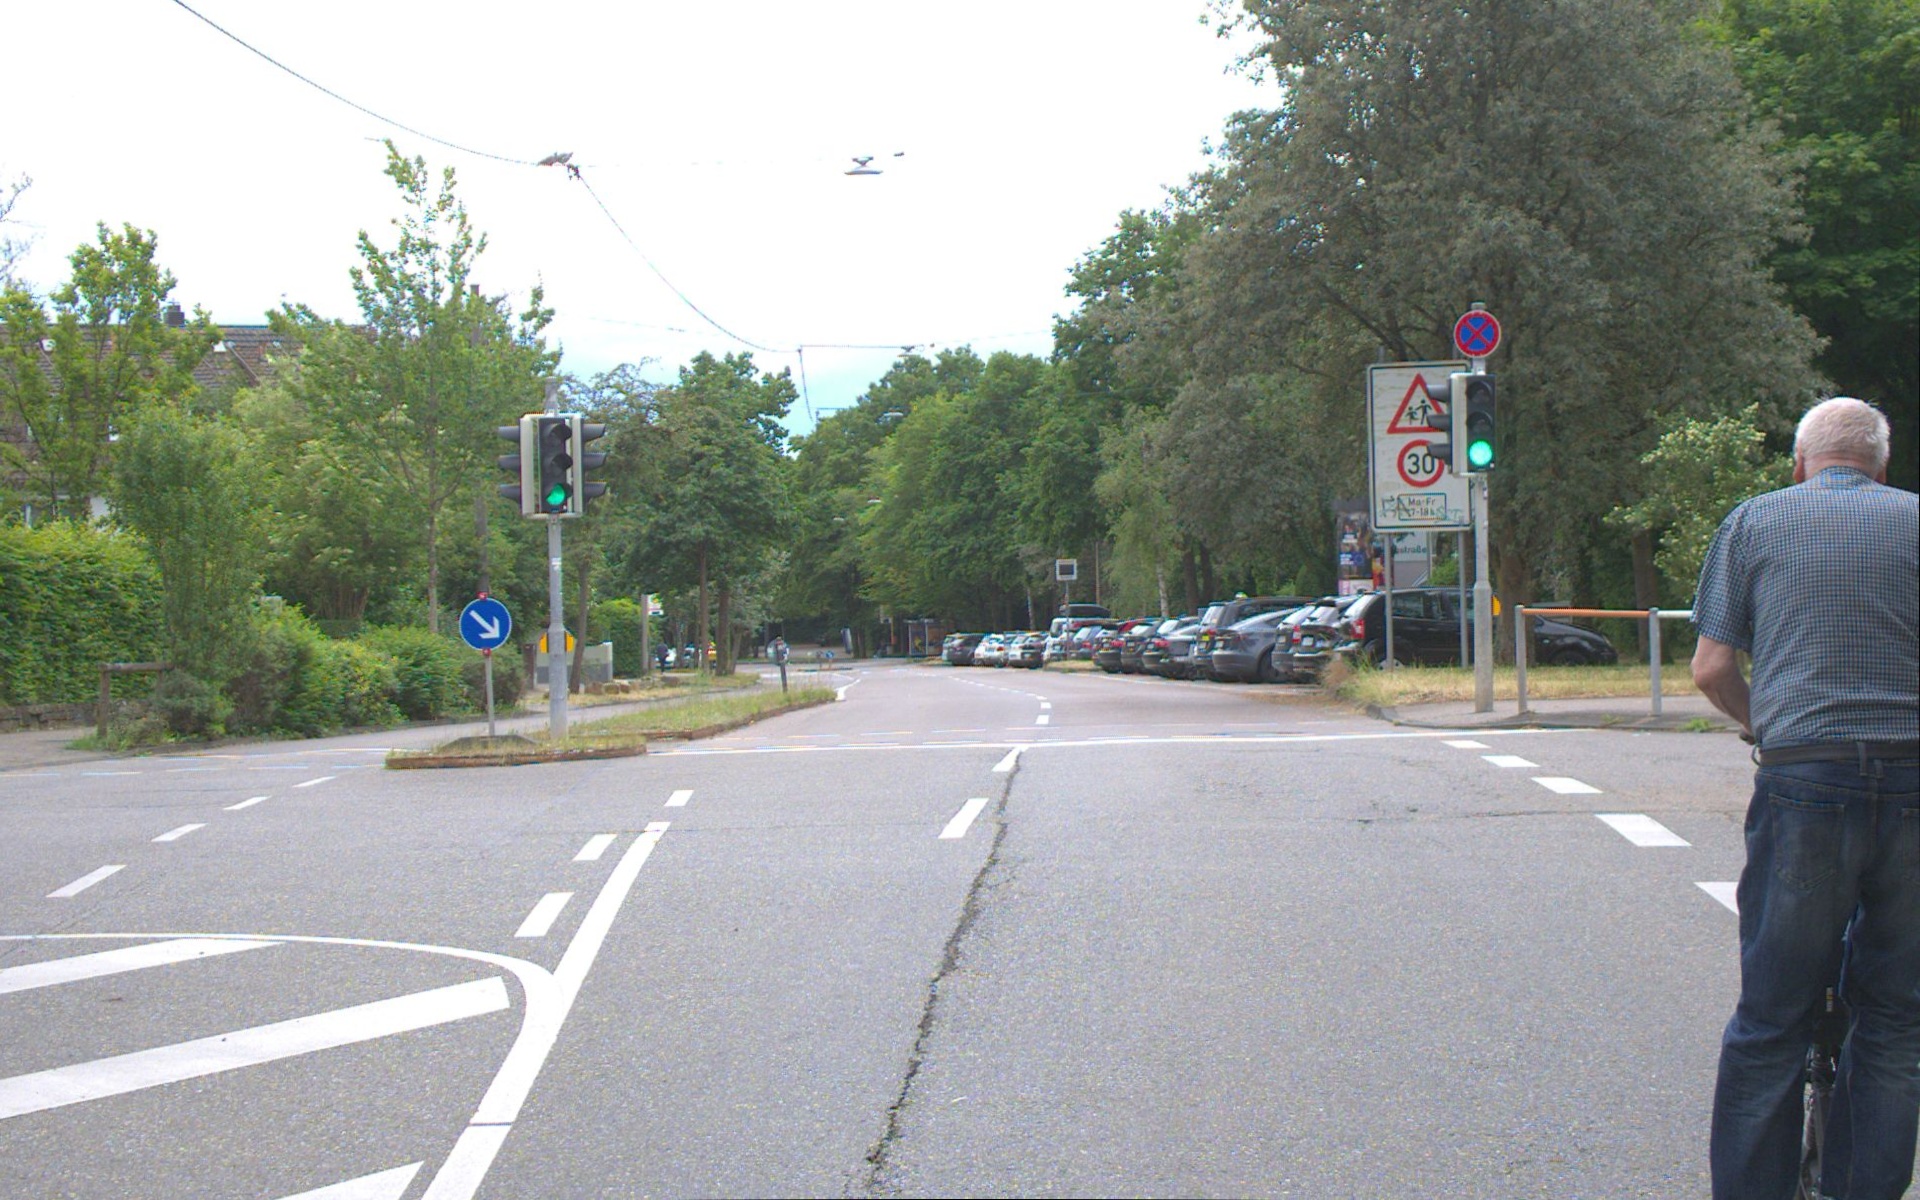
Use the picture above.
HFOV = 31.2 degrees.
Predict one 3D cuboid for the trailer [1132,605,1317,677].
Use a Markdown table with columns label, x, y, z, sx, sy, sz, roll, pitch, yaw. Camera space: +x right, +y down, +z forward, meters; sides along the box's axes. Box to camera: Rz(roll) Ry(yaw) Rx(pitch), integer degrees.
| label | x | y | z | sx | sy | sz | roll | pitch | yaw |
| --- | --- | --- | --- | --- | --- | --- | --- | --- | --- |
| trailer | 5.743 | 0.895 | 74.824 | 3.687 | 1.530 | 1.646 | 0 | -1 | -13 |

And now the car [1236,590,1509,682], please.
| label | x | y | z | sx | sy | sz | roll | pitch | yaw |
| --- | --- | --- | --- | --- | --- | --- | --- | --- | --- |
| car | 6.902 | 0.600 | 57.683 | 4.218 | 1.459 | 1.635 | -1 | -1 | -10 |

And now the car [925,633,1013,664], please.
| label | x | y | z | sx | sy | sz | roll | pitch | yaw |
| --- | --- | --- | --- | --- | --- | --- | --- | --- | --- |
| car | 0.425 | 2.373 | 166.962 | 3.883 | 1.424 | 1.744 | -1 | -1 | -21 |

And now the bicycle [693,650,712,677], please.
| label | x | y | z | sx | sy | sz | roll | pitch | yaw |
| --- | --- | --- | --- | --- | --- | --- | --- | --- | --- |
| bicycle | -12.606 | 3.093 | 168.167 | 0.845 | 1.262 | 2.652 | -1 | 0 | -3 |

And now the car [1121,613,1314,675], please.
| label | x | y | z | sx | sy | sz | roll | pitch | yaw |
| --- | --- | --- | --- | --- | --- | --- | --- | --- | --- |
| car | 5.756 | 0.991 | 77.051 | 4.036 | 1.323 | 1.559 | -1 | -2 | -10 |

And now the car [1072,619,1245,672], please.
| label | x | y | z | sx | sy | sz | roll | pitch | yaw |
| --- | --- | --- | --- | --- | --- | --- | --- | --- | --- |
| car | 5.353 | 1.231 | 92.833 | 4.311 | 1.336 | 1.734 | -1 | -1 | -15 |

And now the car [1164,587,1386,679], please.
| label | x | y | z | sx | sy | sz | roll | pitch | yaw |
| --- | --- | --- | --- | --- | --- | --- | --- | --- | --- |
| car | 6.135 | 0.647 | 67.219 | 3.985 | 1.719 | 1.681 | -1 | -1 | -11 |

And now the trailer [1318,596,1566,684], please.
| label | x | y | z | sx | sy | sz | roll | pitch | yaw |
| --- | --- | --- | --- | --- | --- | --- | --- | --- | --- |
| trailer | 7.373 | 0.614 | 52.743 | 3.401 | 1.262 | 1.617 | -1 | -2 | -11 |

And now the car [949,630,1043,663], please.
| label | x | y | z | sx | sy | sz | roll | pitch | yaw |
| --- | --- | --- | --- | --- | --- | --- | --- | --- | --- |
| car | 1.643 | 2.136 | 156.994 | 3.883 | 1.424 | 1.744 | -1 | -1 | -21 |

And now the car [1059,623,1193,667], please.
| label | x | y | z | sx | sy | sz | roll | pitch | yaw |
| --- | --- | --- | --- | --- | --- | --- | --- | --- | --- |
| car | 5.356 | 1.444 | 111.042 | 3.963 | 1.401 | 1.757 | 0 | -1 | -16 |

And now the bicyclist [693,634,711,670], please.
| label | x | y | z | sx | sy | sz | roll | pitch | yaw |
| --- | --- | --- | --- | --- | --- | --- | --- | --- | --- |
| bicyclist | -12.626 | 2.543 | 168.251 | 0.845 | 1.692 | 0.714 | -1 | 0 | -3 |

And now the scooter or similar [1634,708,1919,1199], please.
| label | x | y | z | sx | sy | sz | roll | pitch | yaw |
| --- | --- | --- | --- | --- | --- | --- | --- | --- | --- |
| scooter or similar | 1.675 | 0.820 | 6.677 | 0.682 | 1.135 | 1.459 | -1 | 1 | 12 |

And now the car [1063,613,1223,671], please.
| label | x | y | z | sx | sy | sz | roll | pitch | yaw |
| --- | --- | --- | --- | --- | --- | --- | --- | --- | --- |
| car | 5.087 | 1.161 | 95.674 | 4.070 | 1.510 | 1.734 | -1 | -1 | -23 |

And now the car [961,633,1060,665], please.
| label | x | y | z | sx | sy | sz | roll | pitch | yaw |
| --- | --- | --- | --- | --- | --- | --- | --- | --- | --- |
| car | 2.192 | 2.133 | 148.497 | 3.884 | 1.305 | 1.744 | -1 | -1 | -26 |

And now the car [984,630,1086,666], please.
| label | x | y | z | sx | sy | sz | roll | pitch | yaw |
| --- | --- | --- | --- | --- | --- | --- | --- | --- | --- |
| car | 3.125 | 2.001 | 143.802 | 3.883 | 1.444 | 1.744 | -1 | -1 | -23 |

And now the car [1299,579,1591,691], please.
| label | x | y | z | sx | sy | sz | roll | pitch | yaw |
| --- | --- | --- | --- | --- | --- | --- | --- | --- | --- |
| car | 6.643 | 0.476 | 47.261 | 3.715 | 1.471 | 1.576 | -1 | 0 | -4 |

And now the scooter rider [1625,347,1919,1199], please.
| label | x | y | z | sx | sy | sz | roll | pitch | yaw |
| --- | --- | --- | --- | --- | --- | --- | --- | --- | --- |
| scooter rider | 1.654 | 0.406 | 6.644 | 0.682 | 1.724 | 1.196 | -1 | 1 | 12 |

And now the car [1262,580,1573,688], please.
| label | x | y | z | sx | sy | sz | roll | pitch | yaw |
| --- | --- | --- | --- | --- | --- | --- | --- | --- | --- |
| car | 6.594 | 0.492 | 49.656 | 4.134 | 1.471 | 1.577 | -1 | -1 | -12 |

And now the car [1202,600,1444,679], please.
| label | x | y | z | sx | sy | sz | roll | pitch | yaw |
| --- | --- | --- | --- | --- | --- | --- | --- | --- | --- |
| car | 6.796 | 0.748 | 64.419 | 4.158 | 1.402 | 1.698 | -1 | -1 | -12 |

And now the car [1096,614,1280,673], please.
| label | x | y | z | sx | sy | sz | roll | pitch | yaw |
| --- | --- | --- | --- | --- | --- | --- | --- | --- | --- |
| car | 5.784 | 1.093 | 87.384 | 4.343 | 1.440 | 1.634 | -1 | -1 | -16 |
